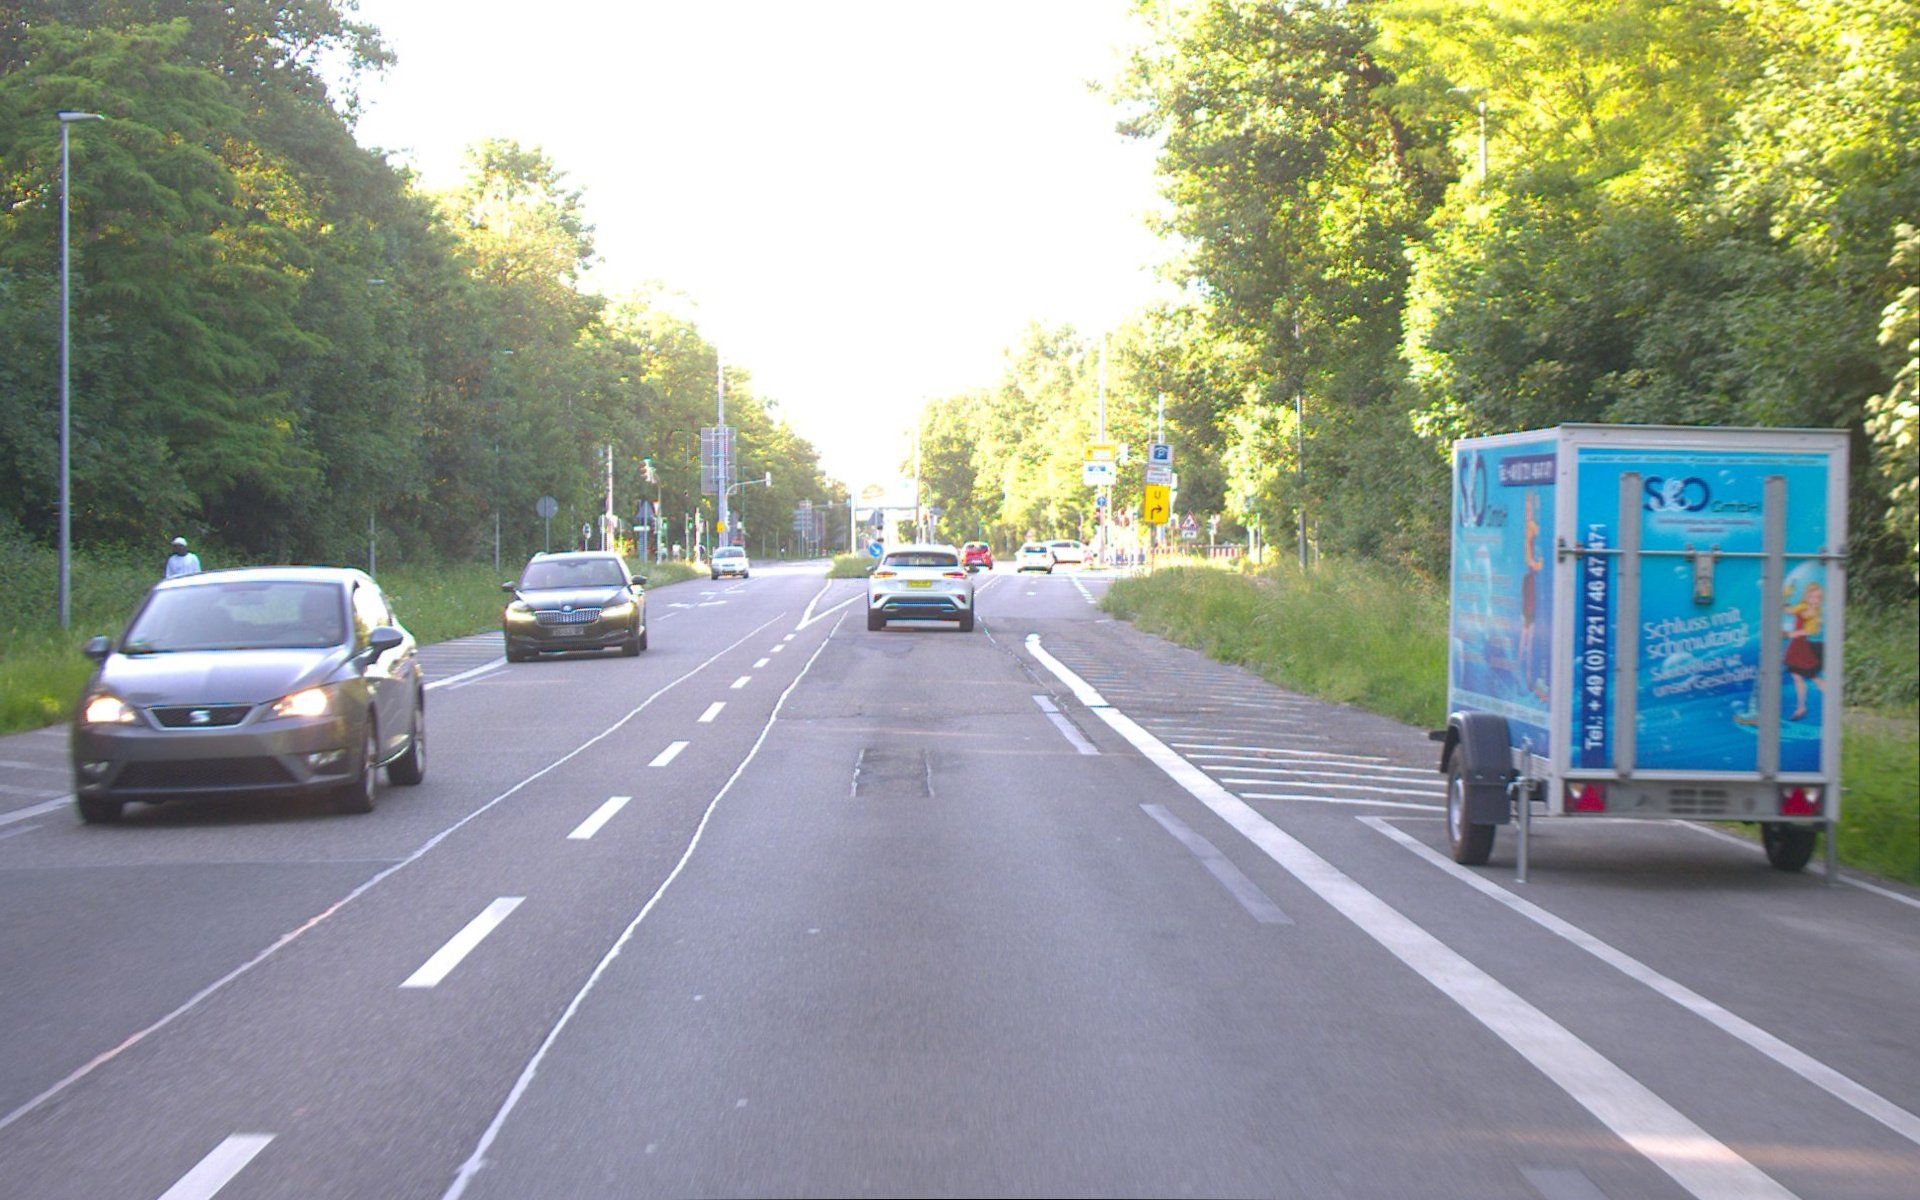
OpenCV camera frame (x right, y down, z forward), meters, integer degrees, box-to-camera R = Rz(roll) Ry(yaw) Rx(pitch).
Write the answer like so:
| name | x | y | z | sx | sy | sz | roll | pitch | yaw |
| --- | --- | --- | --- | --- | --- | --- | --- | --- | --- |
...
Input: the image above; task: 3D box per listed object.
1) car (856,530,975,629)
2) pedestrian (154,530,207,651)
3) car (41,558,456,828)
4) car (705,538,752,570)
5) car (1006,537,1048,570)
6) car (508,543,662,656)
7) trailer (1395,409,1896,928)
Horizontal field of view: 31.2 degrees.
| name | x | y | z | sx | sy | sz | roll | pitch | yaw |
| --- | --- | --- | --- | --- | --- | --- | --- | --- | --- |
| car | -0.789 | -0.385 | 59.919 | 1.993 | 1.634 | 4.000 | -1 | 1 | -1 |
| pedestrian | -13.090 | -0.159 | 57.756 | 0.693 | 2.007 | 0.712 | 1 | 1 | 0 |
| car | -4.150 | 0.481 | 20.640 | 1.678 | 1.411 | 4.000 | -1 | 1 | -1 |
| car | -10.814 | -2.154 | 160.746 | 1.993 | 1.459 | 4.000 | 1 | 1 | -1 |
| car | 3.395 | -2.384 | 174.655 | 1.993 | 1.612 | 4.000 | 1 | 1 | 0 |
| car | -5.236 | -0.048 | 48.477 | 1.678 | 1.485 | 4.690 | -1 | 1 | -1 |
| trailer | 3.263 | 0.257 | 17.200 | 1.500 | 2.228 | 4.550 | 1 | 1 | -1 |
